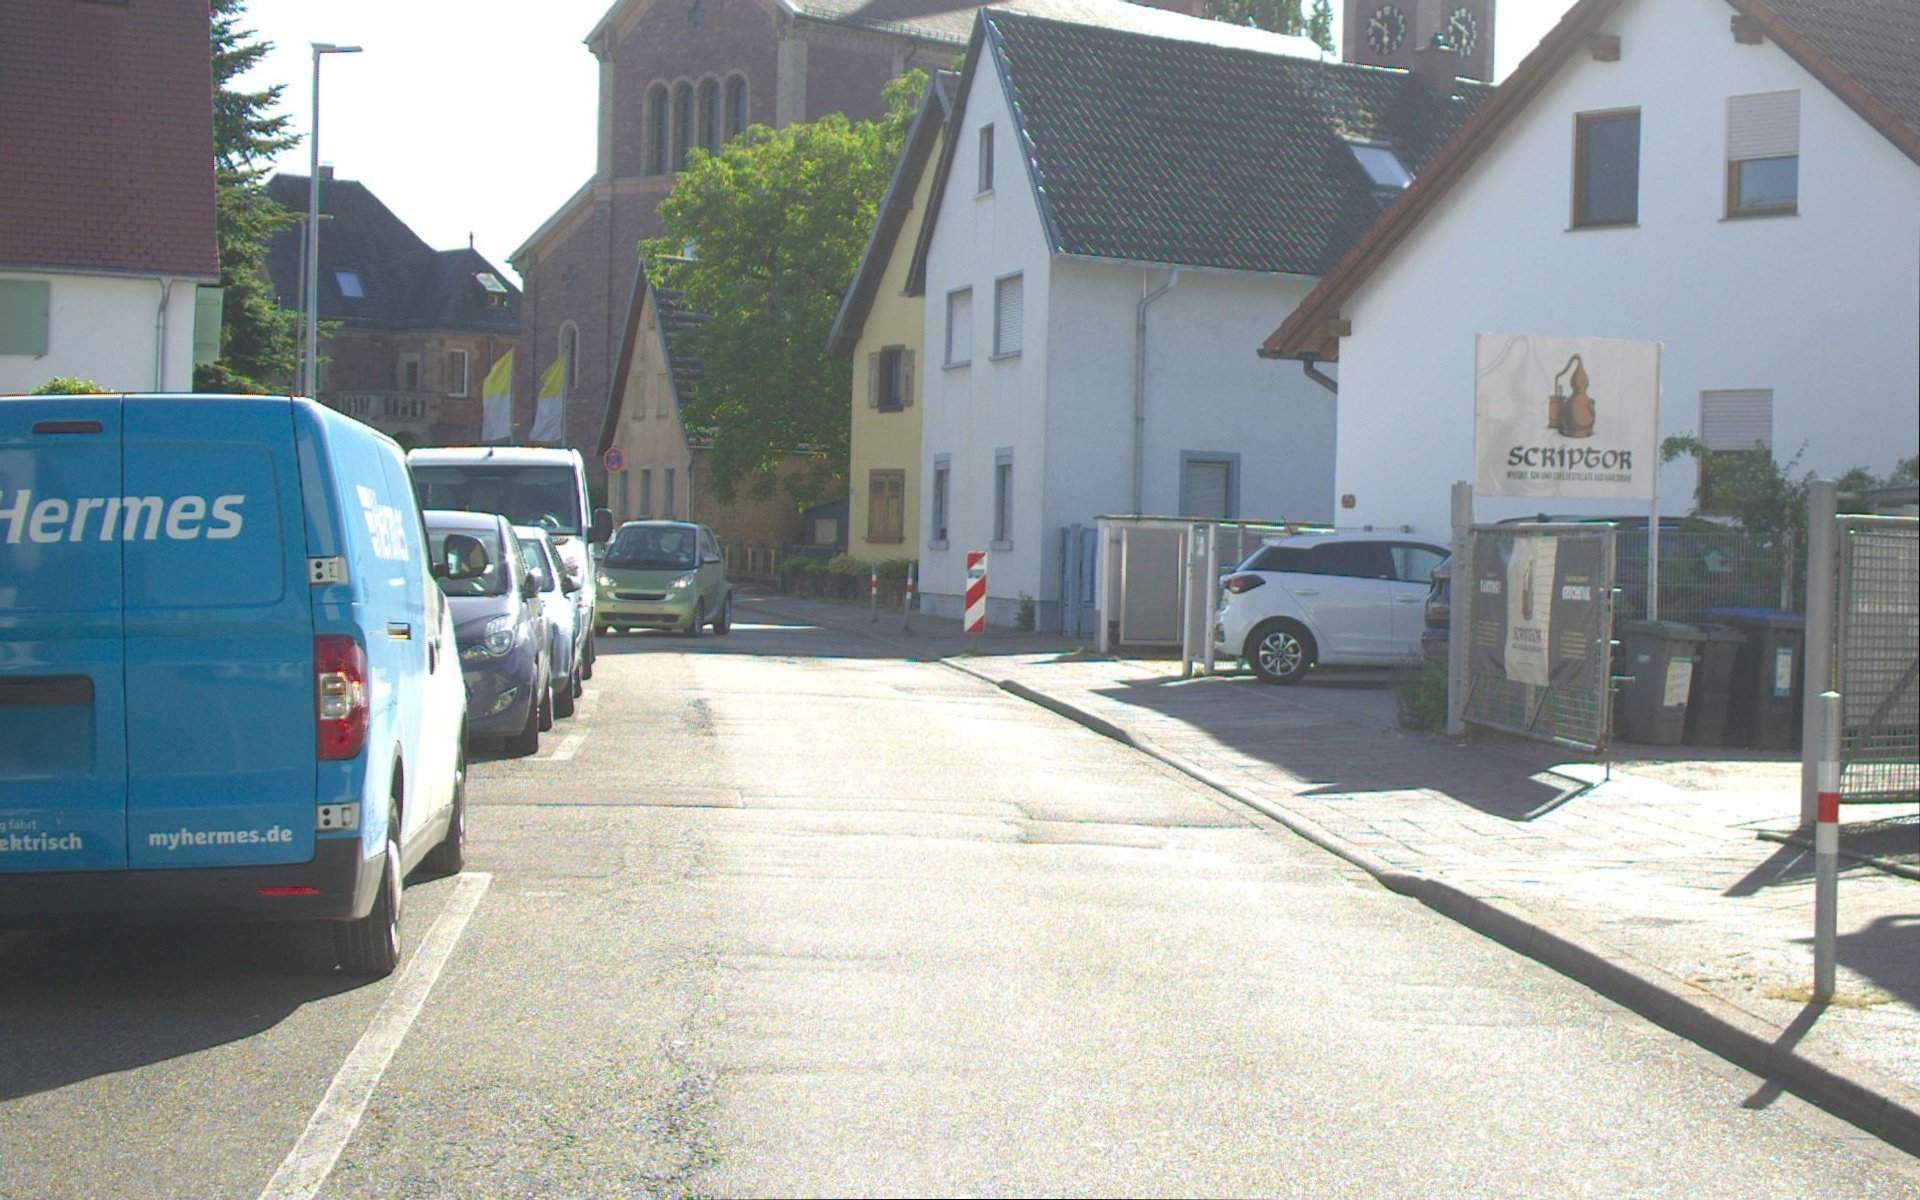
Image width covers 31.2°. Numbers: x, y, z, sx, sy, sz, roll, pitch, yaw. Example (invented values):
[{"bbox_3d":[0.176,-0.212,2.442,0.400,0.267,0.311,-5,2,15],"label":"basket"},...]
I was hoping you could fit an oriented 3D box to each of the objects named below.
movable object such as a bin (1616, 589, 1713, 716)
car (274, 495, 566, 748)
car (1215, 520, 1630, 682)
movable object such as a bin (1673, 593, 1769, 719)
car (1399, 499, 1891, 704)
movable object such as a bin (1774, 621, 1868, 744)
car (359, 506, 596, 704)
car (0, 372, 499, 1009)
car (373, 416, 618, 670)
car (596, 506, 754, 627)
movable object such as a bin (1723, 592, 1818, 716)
[{"bbox_3d":[5.312,0.395,25.914,0.515,0.920,0.423,4,0,-34],"label":"movable object such as a bin"},{"bbox_3d":[-3.651,0.083,23.775,1.714,1.593,3.926,1,2,-5],"label":"car"},{"bbox_3d":[4.494,-0.011,33.875,3.913,1.487,1.847,1,1,4],"label":"car"},{"bbox_3d":[5.801,0.423,26.202,0.515,0.920,0.423,4,0,-34],"label":"movable object such as a bin"},{"bbox_3d":[6.089,-0.015,30.470,4.036,1.682,1.912,0,2,-33],"label":"car"},{"bbox_3d":[6.713,0.644,26.808,0.515,0.920,0.423,4,0,-34],"label":"movable object such as a bin"},{"bbox_3d":[-3.920,-0.018,28.475,1.711,1.499,4.236,1,2,-5],"label":"car"},{"bbox_3d":[-2.823,0.206,12.842,1.902,1.911,5.071,0,1,-5],"label":"car"},{"bbox_3d":[-4.667,-0.625,35.382,2.196,2.381,6.066,0,2,-5],"label":"car"},{"bbox_3d":[-3.825,-0.472,46.544,1.574,1.541,2.965,2,1,6],"label":"car"},{"bbox_3d":[6.250,0.414,26.499,0.515,0.920,0.423,4,0,-34],"label":"movable object such as a bin"}]
